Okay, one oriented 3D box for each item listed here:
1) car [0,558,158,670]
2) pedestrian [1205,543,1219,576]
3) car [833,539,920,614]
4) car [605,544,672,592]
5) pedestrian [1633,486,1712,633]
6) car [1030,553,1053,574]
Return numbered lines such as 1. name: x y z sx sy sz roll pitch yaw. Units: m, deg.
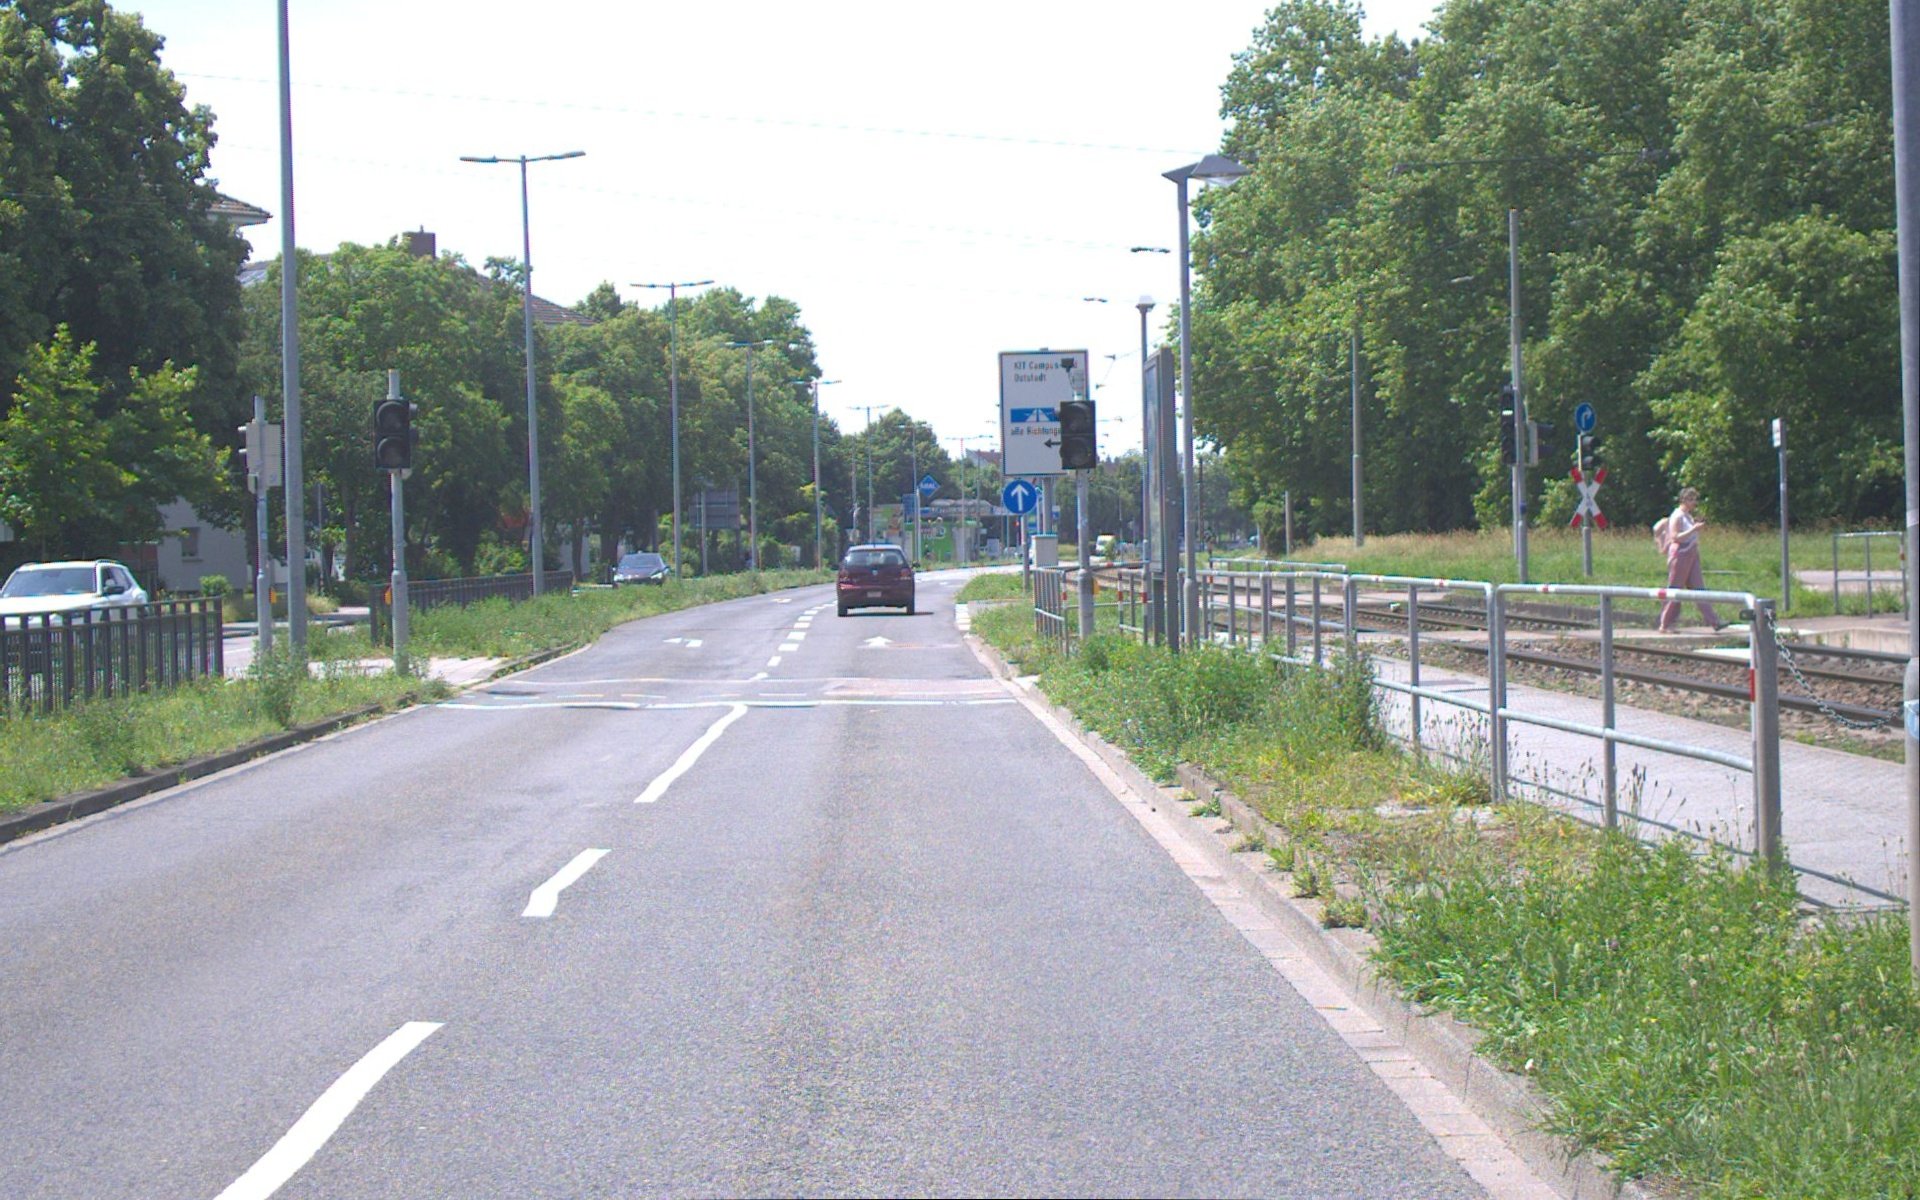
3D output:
1. car: -13.453 0.185 51.598 1.821 1.567 4.347 -2 1 -1
2. pedestrian: 13.355 -2.154 182.222 0.661 1.720 0.816 -1 1 6
3. car: -1.721 -0.502 72.011 1.703 1.472 3.716 -2 1 0
4. car: -10.955 -1.114 117.238 1.756 1.538 4.161 -2 1 1
5. pedestrian: 8.570 -0.478 41.383 0.634 1.753 0.817 0 0 -14
6. car: 6.148 -2.731 258.925 1.703 1.475 3.716 2 0 1
